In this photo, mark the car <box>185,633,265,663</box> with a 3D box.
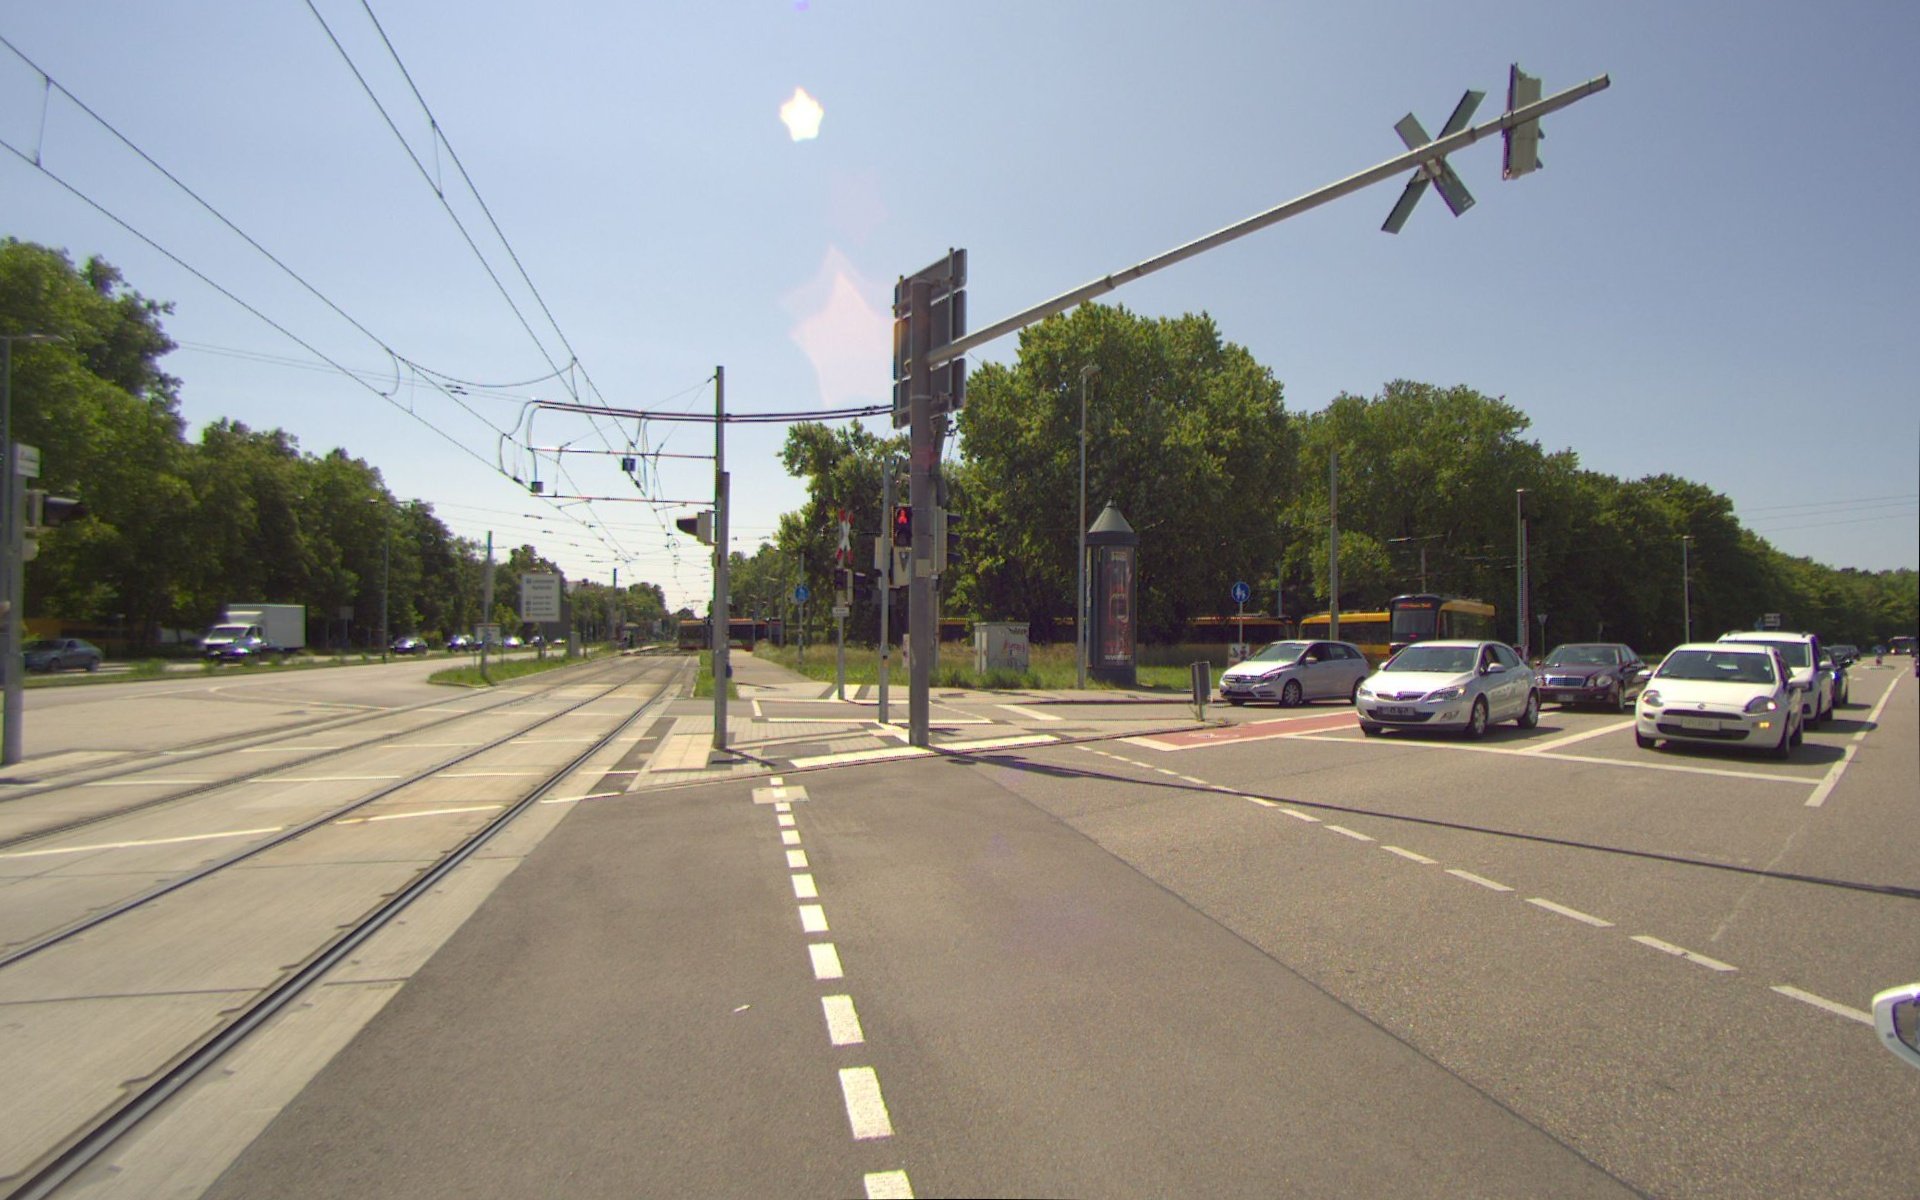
[{"bbox_3d":[-34.114,2.208,46.744,1.719,1.303,3.986,-1,-1,-17],"label":"car"}]

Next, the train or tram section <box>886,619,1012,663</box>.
[{"bbox_3d":[-1.012,3.820,92.273,11.212,3.808,3.028,-2,-3,16],"label":"train or tram section"}]

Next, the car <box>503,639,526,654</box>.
[{"bbox_3d":[-56.912,5.895,128.298,1.966,1.754,3.990,-2,-1,-14],"label":"car"}]

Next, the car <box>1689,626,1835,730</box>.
[{"bbox_3d":[15.609,1.411,19.442,1.793,1.746,4.802,0,-2,44],"label":"car"}]

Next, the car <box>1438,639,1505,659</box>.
[{"bbox_3d":[38.557,3.699,75.821,1.651,1.435,4.269,3,-4,-36],"label":"car"}]

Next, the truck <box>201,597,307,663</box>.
[{"bbox_3d":[-41.826,1.786,59.795,2.545,3.579,7.691,-1,-1,-14],"label":"truck"}]

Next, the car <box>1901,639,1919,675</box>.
[{"bbox_3d":[46.197,2.703,47.500,3.967,1.653,2.009,2,-3,-40],"label":"car"}]

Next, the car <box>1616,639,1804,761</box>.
[{"bbox_3d":[10.878,1.324,14.462,1.749,1.457,3.939,1,-1,43],"label":"car"}]

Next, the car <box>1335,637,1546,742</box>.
[{"bbox_3d":[7.942,1.356,16.391,1.773,1.474,4.385,-2,-3,45],"label":"car"}]

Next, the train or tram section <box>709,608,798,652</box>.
[{"bbox_3d":[-21.815,3.213,105.319,3.005,4.310,12.591,1,-3,-43],"label":"train or tram section"}]

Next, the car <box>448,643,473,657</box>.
[{"bbox_3d":[-48.116,4.804,96.810,1.579,1.303,3.633,-1,-1,-17],"label":"car"}]

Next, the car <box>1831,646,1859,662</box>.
[{"bbox_3d":[85.957,5.248,97.557,1.726,1.424,4.413,-3,-3,44],"label":"car"}]

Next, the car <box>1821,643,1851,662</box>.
[{"bbox_3d":[71.093,4.256,81.527,1.605,1.475,3.480,-3,-4,44],"label":"car"}]

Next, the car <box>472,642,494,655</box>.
[{"bbox_3d":[-50.481,5.124,106.406,1.579,1.303,3.633,-1,-1,-17],"label":"car"}]

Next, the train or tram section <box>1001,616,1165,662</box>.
[{"bbox_3d":[10.725,3.512,88.343,13.919,3.808,3.026,-2,-3,22],"label":"train or tram section"}]

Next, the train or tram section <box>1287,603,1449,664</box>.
[{"bbox_3d":[28.135,2.437,70.538,2.974,3.808,14.017,0,-3,-13],"label":"train or tram section"}]

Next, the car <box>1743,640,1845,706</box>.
[{"bbox_3d":[20.944,1.759,25.182,1.705,1.482,3.966,0,-2,44],"label":"car"}]

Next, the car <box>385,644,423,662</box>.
[{"bbox_3d":[-45.079,4.275,81.467,1.856,1.303,3.986,-1,-1,-17],"label":"car"}]

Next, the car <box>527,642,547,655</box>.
[{"bbox_3d":[-62.338,7.083,148.045,1.964,1.754,3.993,-2,-1,-11],"label":"car"}]

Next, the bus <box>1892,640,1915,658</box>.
[{"bbox_3d":[173.414,9.010,184.576,2.722,3.084,11.867,-5,-5,43],"label":"bus"}]

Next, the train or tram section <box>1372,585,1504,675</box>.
[{"bbox_3d":[23.280,1.511,48.341,2.979,3.808,12.942,-3,-3,38],"label":"train or tram section"}]

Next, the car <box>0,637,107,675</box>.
[{"bbox_3d":[-37.849,2.290,41.835,1.818,1.444,4.203,0,-2,-14],"label":"car"}]

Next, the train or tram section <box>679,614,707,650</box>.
[{"bbox_3d":[-33.668,4.132,126.395,2.977,4.310,12.709,0,-3,-16],"label":"train or tram section"}]

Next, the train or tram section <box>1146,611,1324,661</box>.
[{"bbox_3d":[22.002,3.024,81.467,13.985,3.808,3.011,-3,-3,41],"label":"train or tram section"}]

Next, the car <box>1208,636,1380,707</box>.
[{"bbox_3d":[8.089,1.652,24.210,4.213,1.566,1.731,1,-3,-34],"label":"car"}]

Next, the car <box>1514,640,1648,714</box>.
[{"bbox_3d":[13.815,1.629,22.247,1.741,1.476,4.261,-1,-3,43],"label":"car"}]
